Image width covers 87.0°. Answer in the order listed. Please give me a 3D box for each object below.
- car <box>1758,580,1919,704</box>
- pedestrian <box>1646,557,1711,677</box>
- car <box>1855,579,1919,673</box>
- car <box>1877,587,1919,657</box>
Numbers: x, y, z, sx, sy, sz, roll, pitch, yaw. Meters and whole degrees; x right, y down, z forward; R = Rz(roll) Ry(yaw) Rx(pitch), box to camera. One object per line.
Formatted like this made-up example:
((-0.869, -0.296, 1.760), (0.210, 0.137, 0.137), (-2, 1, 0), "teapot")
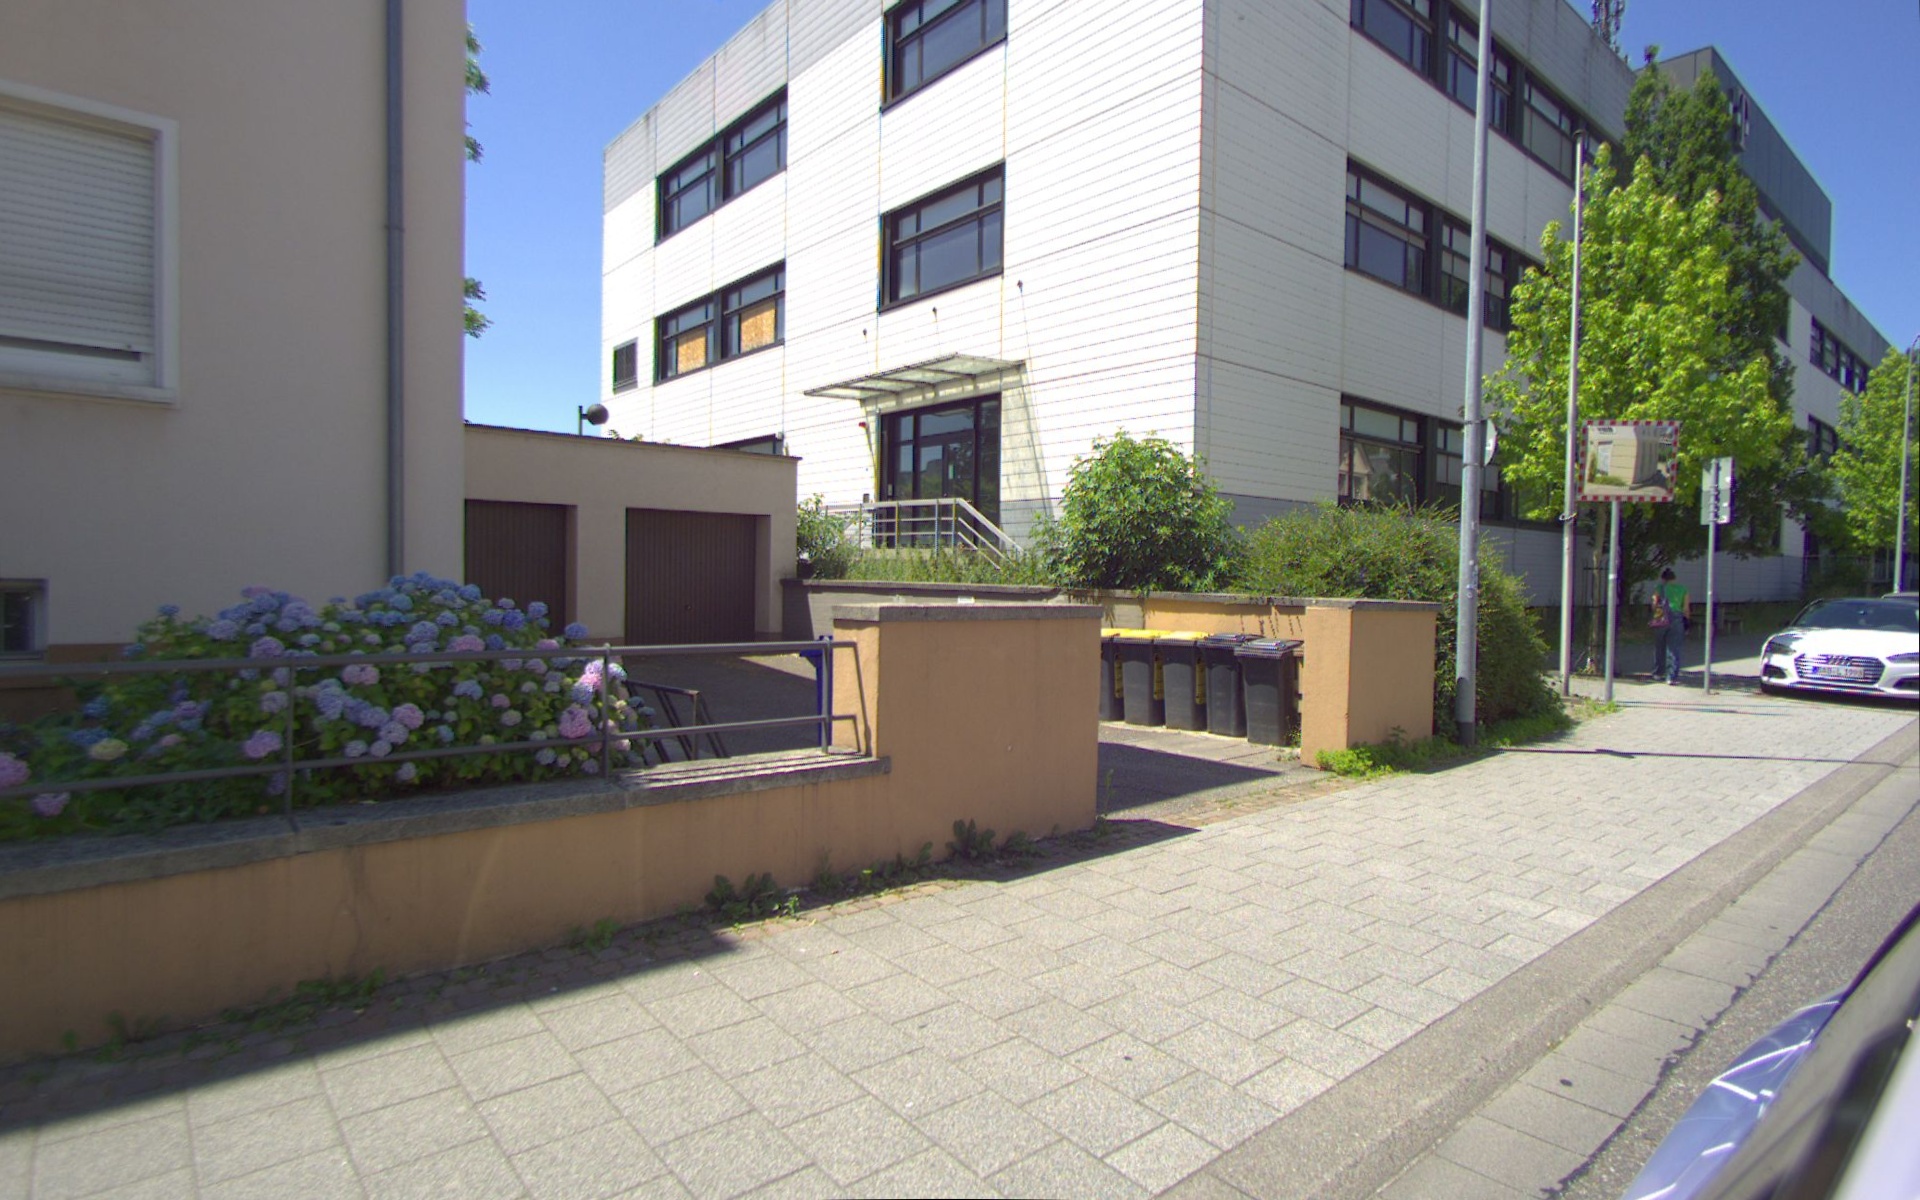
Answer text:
((13.310, 0.498, 14.610), (4.795, 1.487, 1.919), (0, 3, -41), "car")
((10.867, 0.225, 15.330), (0.676, 1.720, 1.038), (3, 3, 33), "pedestrian")
((17.287, 0.436, 17.830), (3.809, 1.516, 1.714), (0, 3, -40), "car")
((20.887, 0.450, 21.242), (3.928, 1.382, 1.842), (0, 3, -39), "car")
